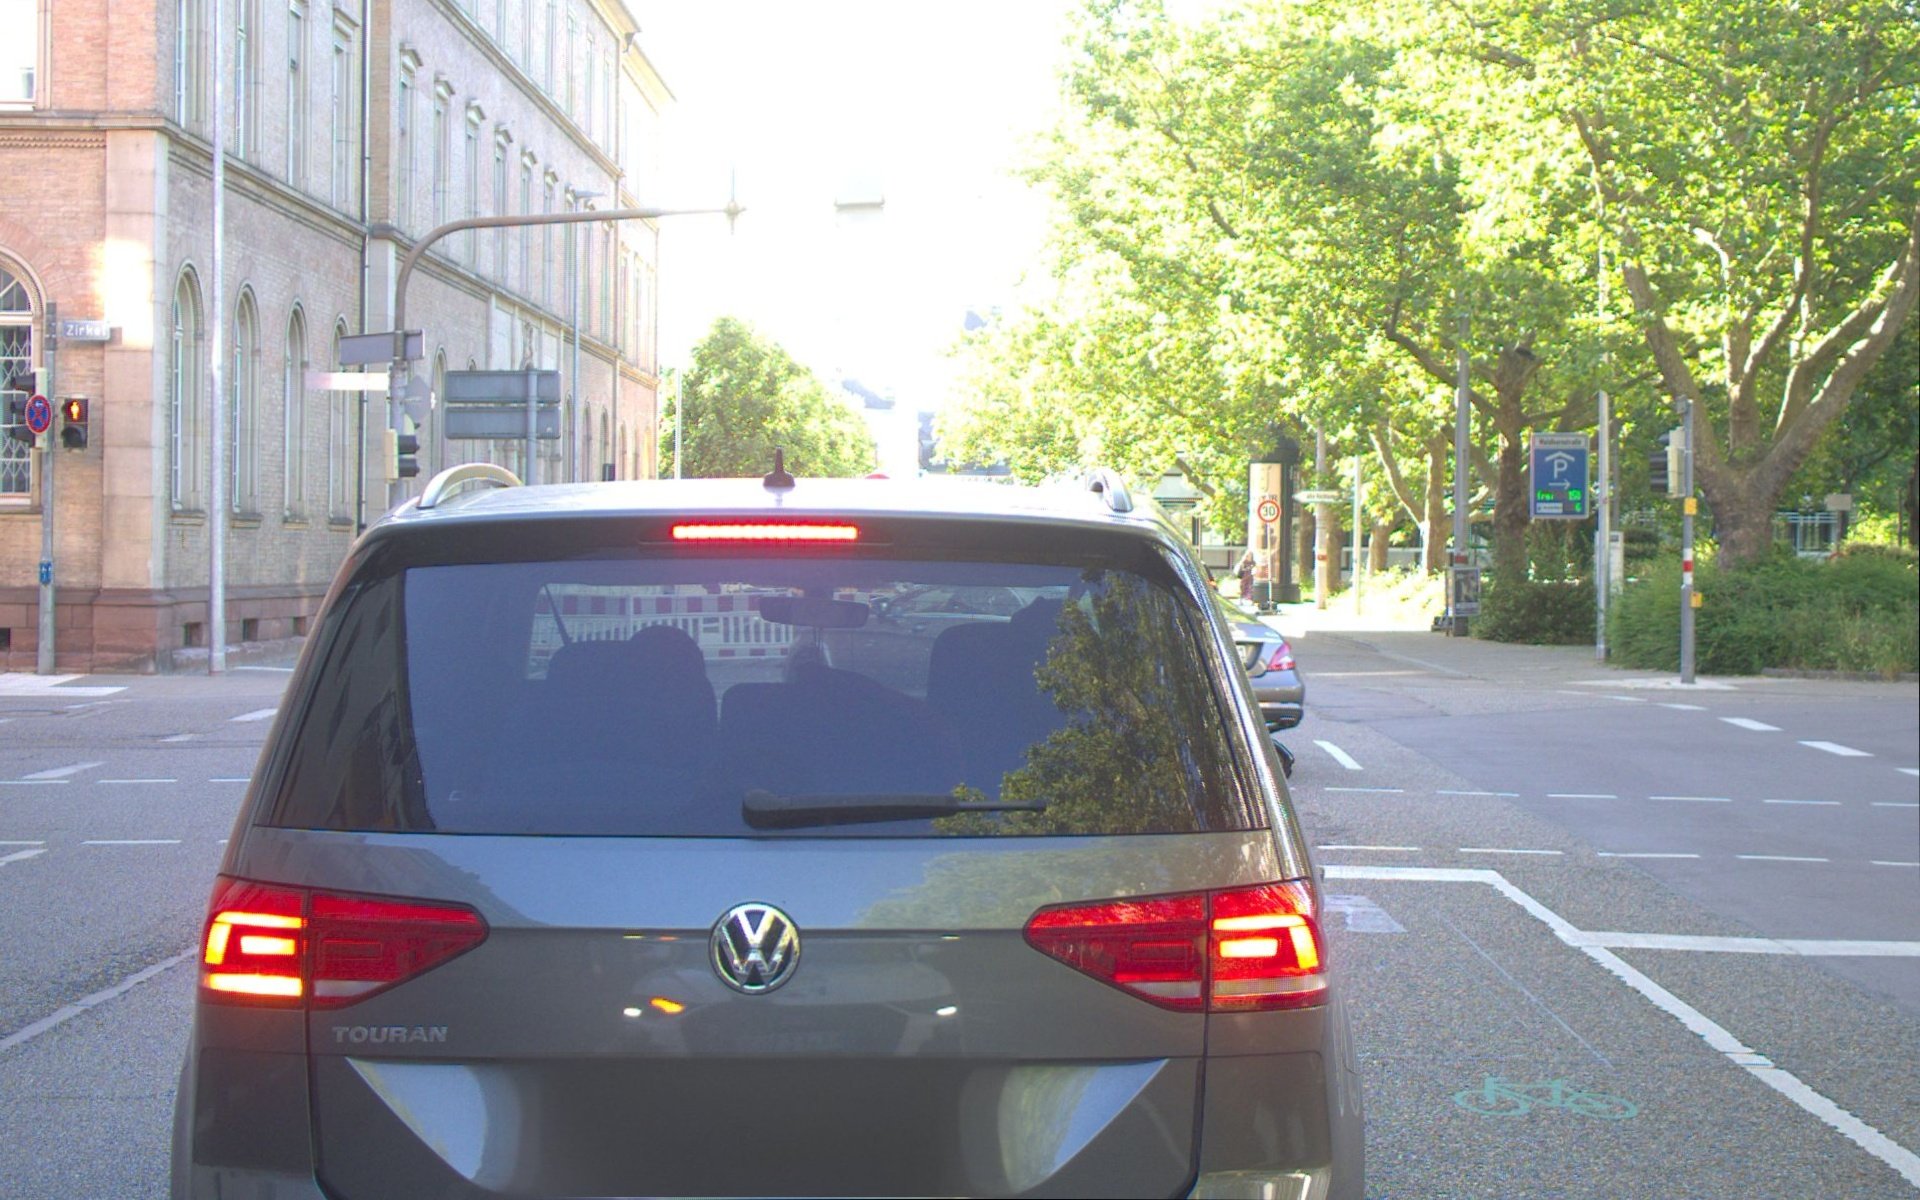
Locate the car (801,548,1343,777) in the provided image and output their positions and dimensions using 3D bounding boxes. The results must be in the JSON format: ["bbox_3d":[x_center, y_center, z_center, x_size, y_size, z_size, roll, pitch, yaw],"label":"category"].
[{"bbox_3d":[0.671,0.383,24.381,1.842,1.424,4.518,1,1,-27],"label":"car"}]

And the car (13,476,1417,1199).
[{"bbox_3d":[-0.254,0.628,6.428,1.809,1.607,4.000,0,1,2],"label":"car"}]

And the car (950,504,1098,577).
[{"bbox_3d":[1.671,-1.581,90.974,1.713,1.606,3.901,4,1,-39],"label":"car"}]
